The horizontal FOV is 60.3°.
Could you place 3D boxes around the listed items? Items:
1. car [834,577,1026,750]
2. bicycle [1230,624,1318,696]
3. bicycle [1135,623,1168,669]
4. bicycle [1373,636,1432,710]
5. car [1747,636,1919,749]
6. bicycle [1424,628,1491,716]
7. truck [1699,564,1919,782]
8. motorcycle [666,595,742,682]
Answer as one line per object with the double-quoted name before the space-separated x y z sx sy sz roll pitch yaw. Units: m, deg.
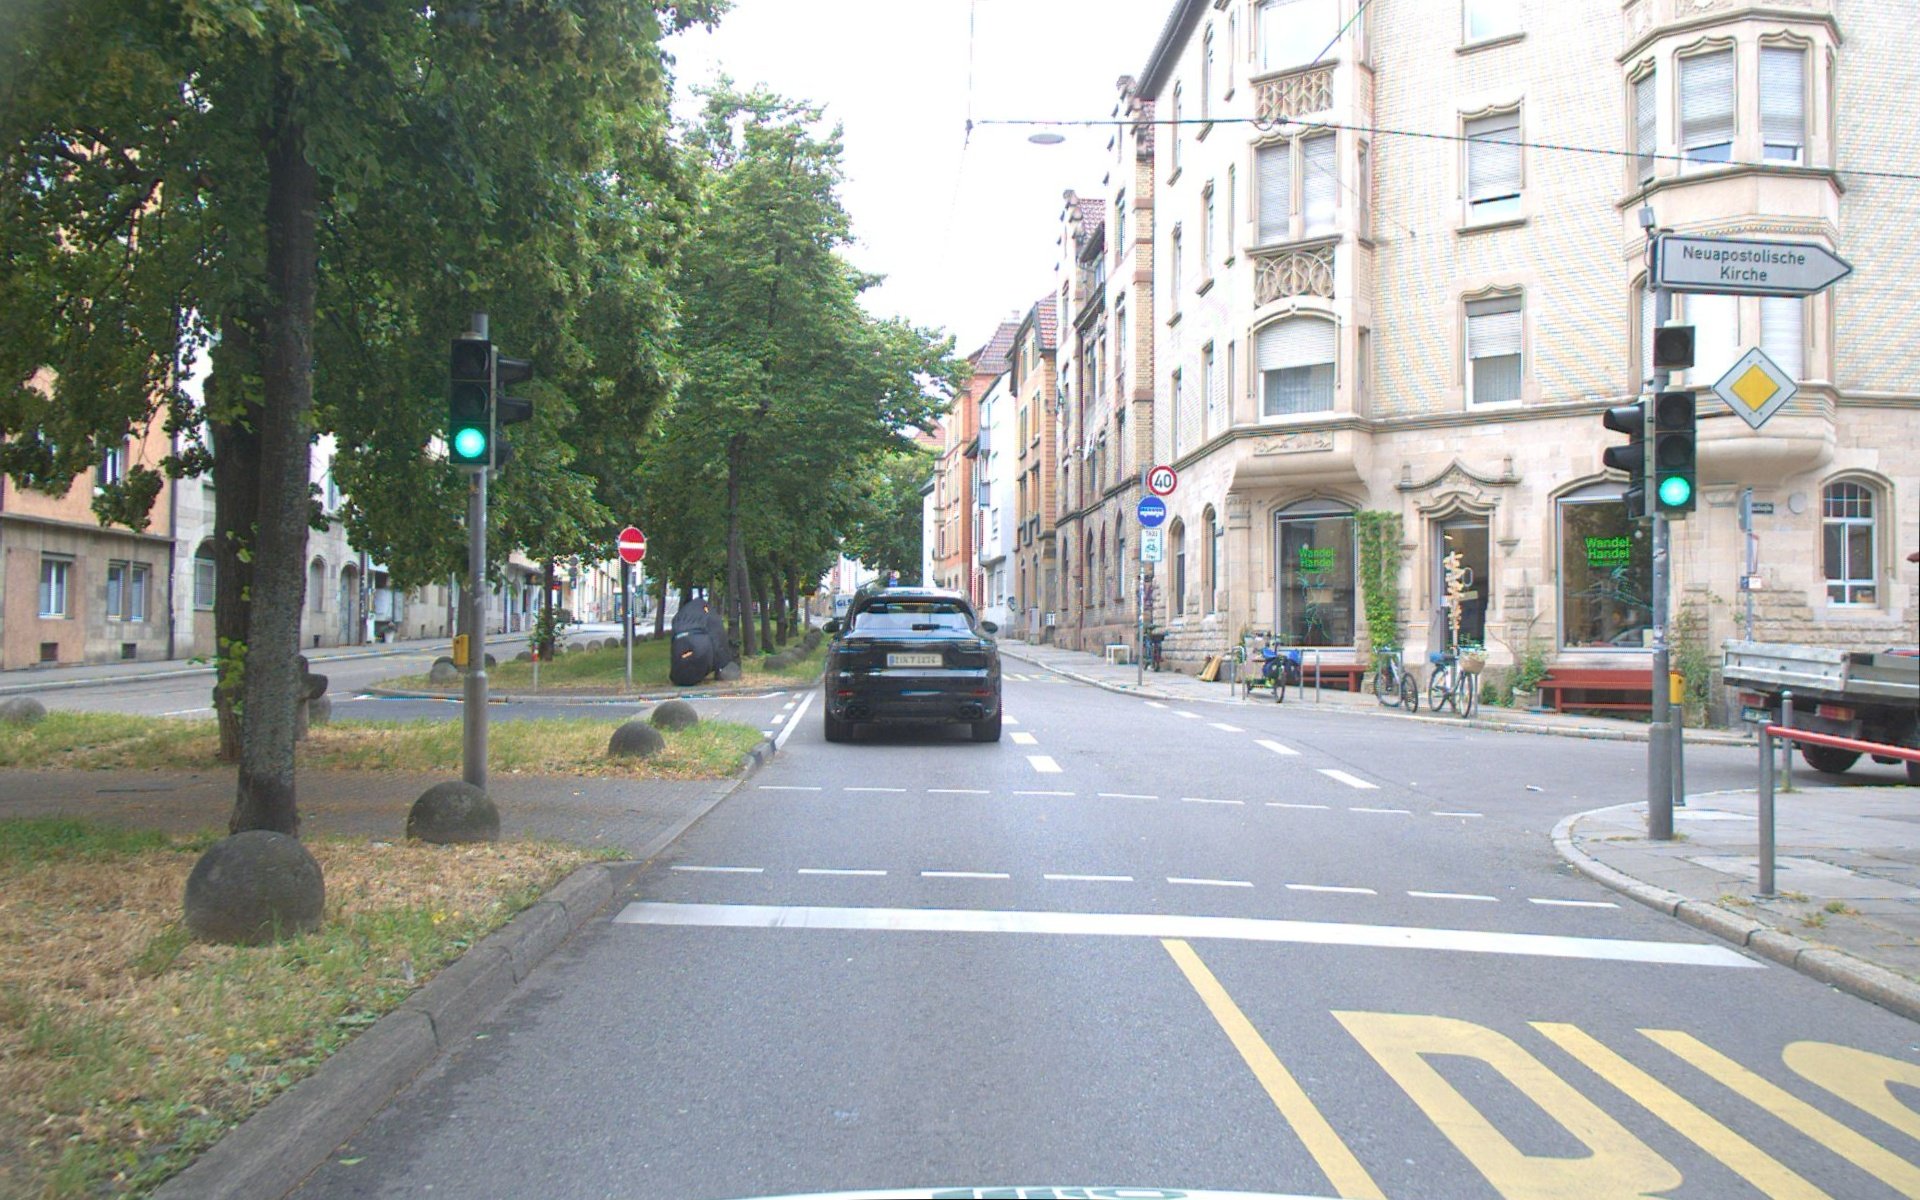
"car" -0.448 0.636 19.176 1.954 1.694 3.997 2 1 -4
"bicycle" 5.362 0.995 28.459 0.861 1.149 2.978 1 -1 -1
"bicycle" 4.546 1.092 39.358 0.437 1.055 2.247 0 -1 -3
"bicycle" 7.173 1.165 26.891 0.342 1.077 1.833 3 0 -3
"car" 13.595 1.353 24.170 3.296 1.508 1.862 2 -1 -8
"bicycle" 7.949 1.128 26.487 0.437 1.181 1.834 0 5 -2
"truck" 11.383 0.841 18.282 5.460 2.170 2.375 3 0 -11
"motorcycle" -4.507 0.664 29.255 0.999 1.471 2.246 -1 -1 -1
